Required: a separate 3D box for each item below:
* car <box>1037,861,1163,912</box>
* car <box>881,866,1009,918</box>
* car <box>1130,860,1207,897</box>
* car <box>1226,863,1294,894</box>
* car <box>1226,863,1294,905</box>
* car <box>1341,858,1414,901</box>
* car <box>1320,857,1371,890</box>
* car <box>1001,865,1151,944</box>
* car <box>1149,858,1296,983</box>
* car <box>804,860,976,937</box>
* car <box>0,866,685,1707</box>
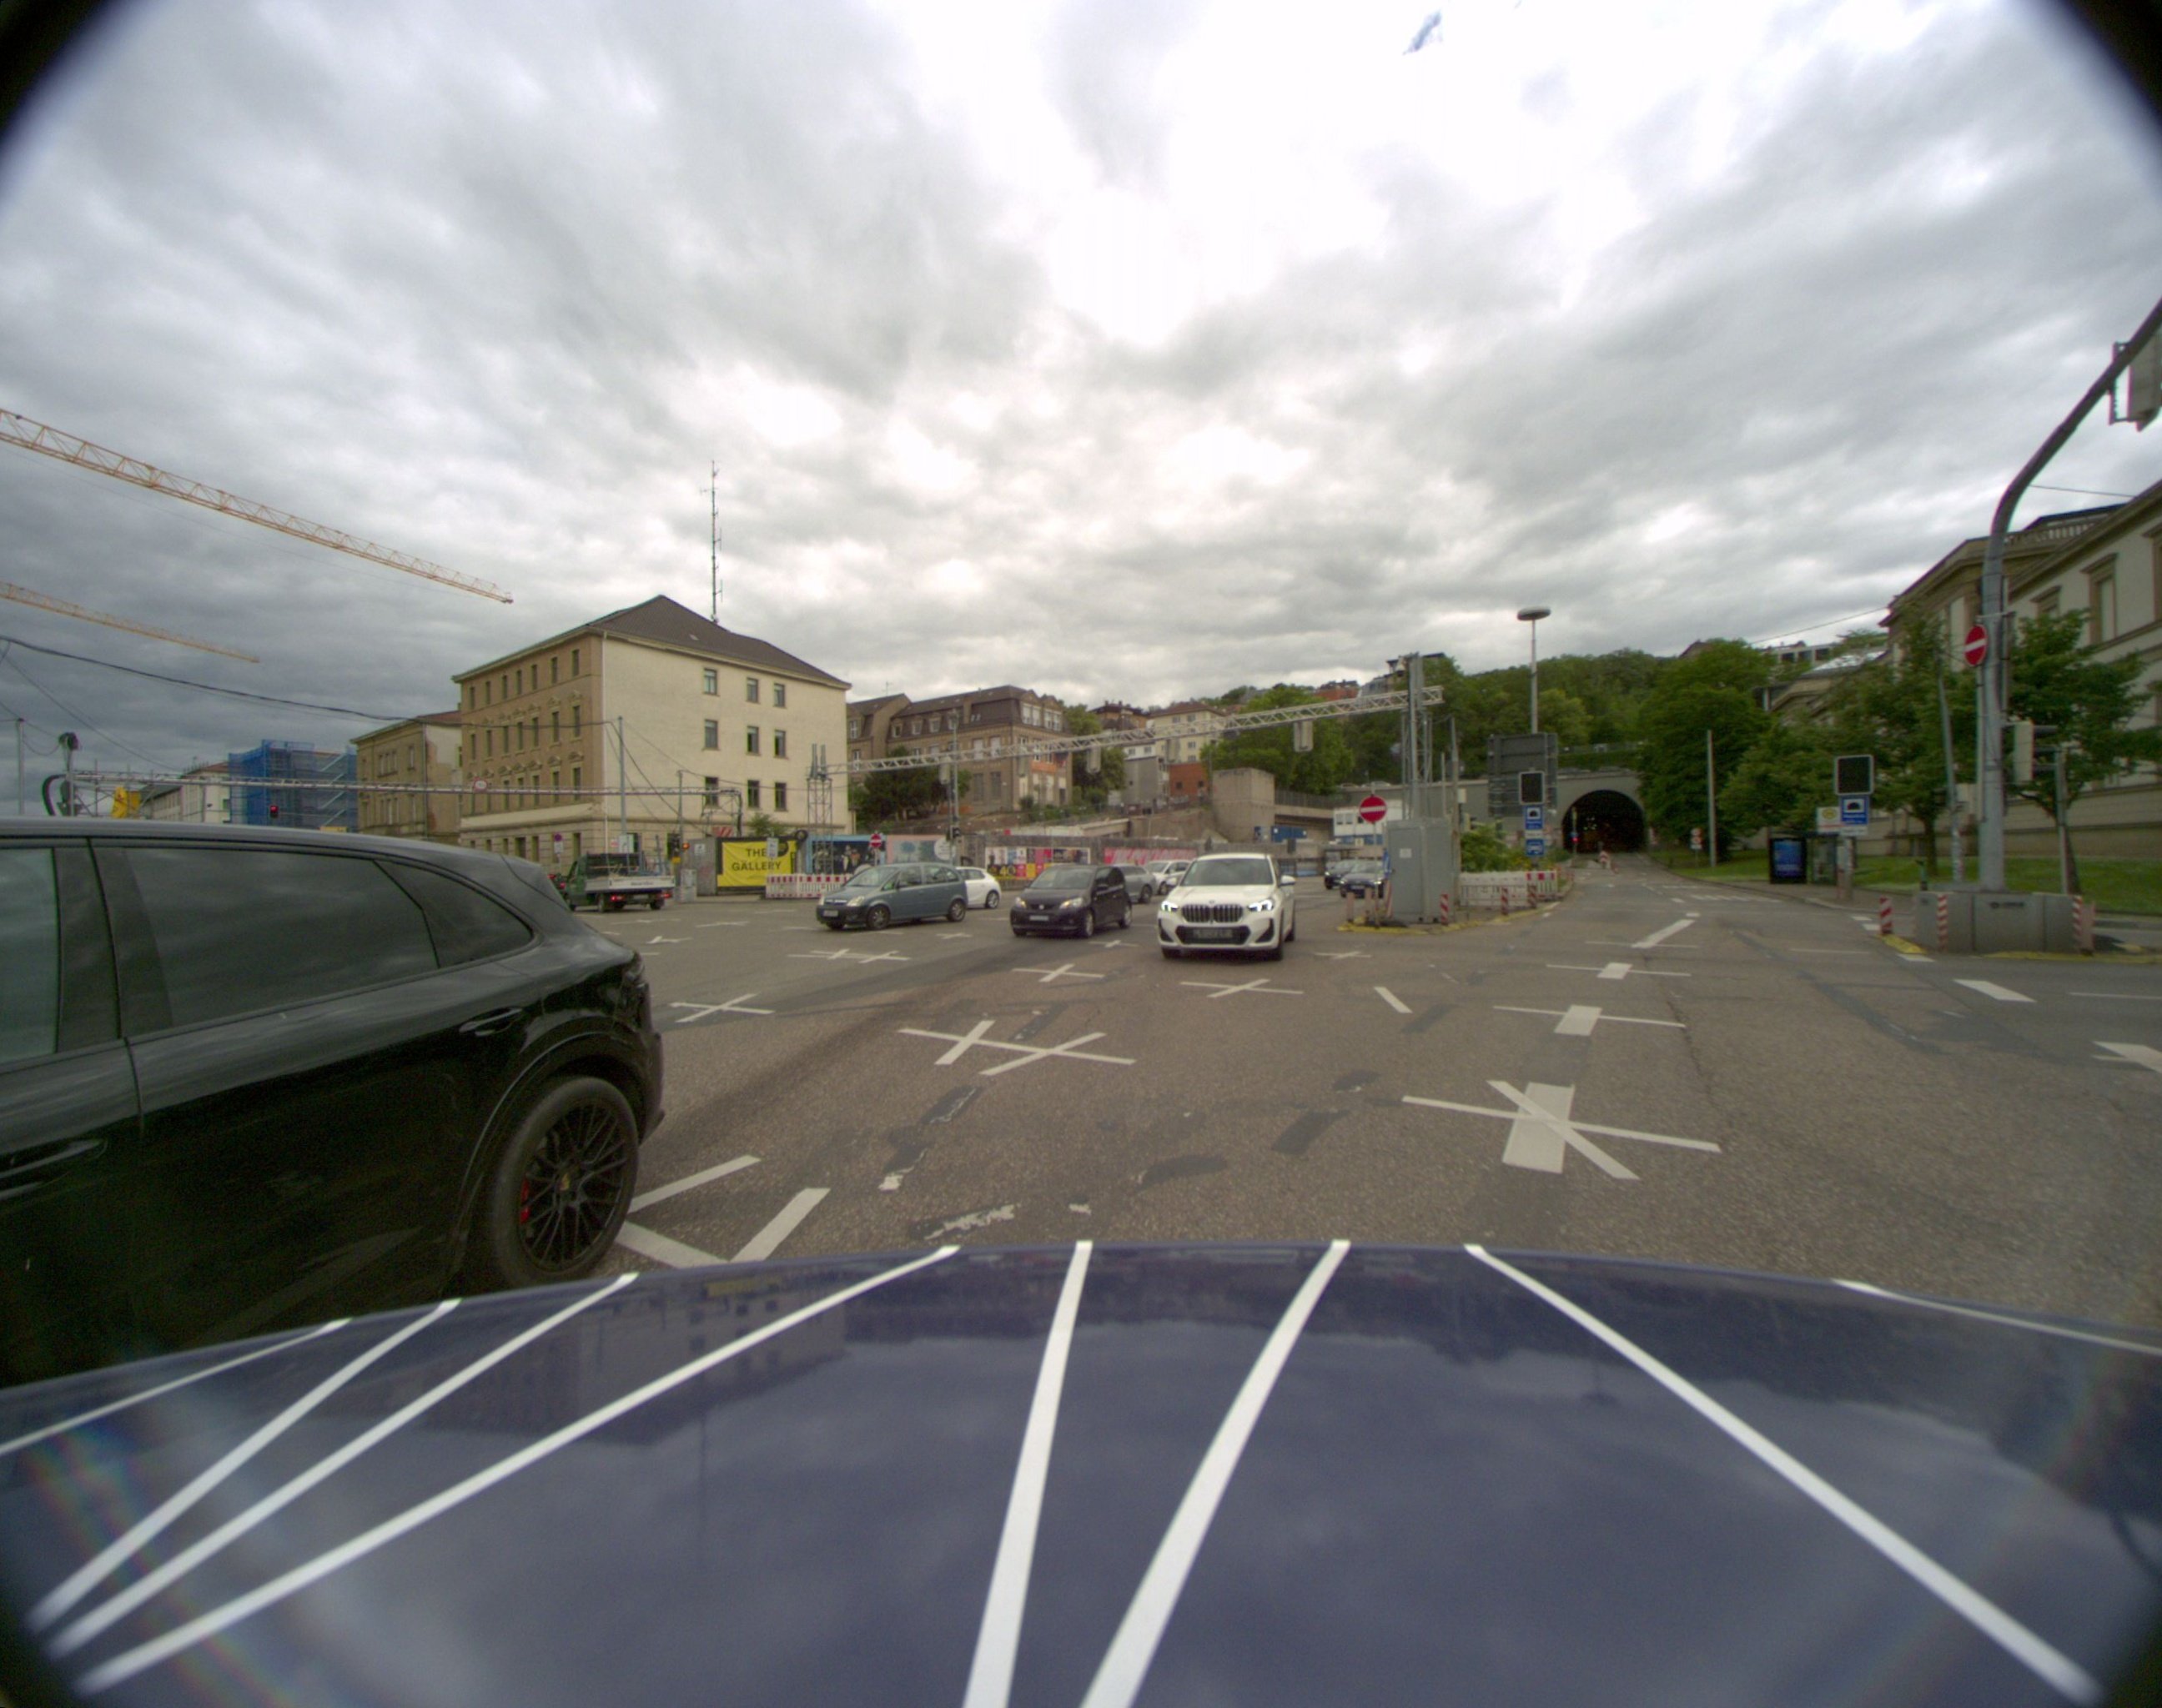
[{"bbox_3d":[0.758,1.042,26.204,1.906,1.569,4.693,-1,-1,38],"label":"car"},{"bbox_3d":[-4.351,1.196,24.835,1.688,1.407,4.095,-2,0,34],"label":"car"},{"bbox_3d":[4.175,1.141,35.816,1.688,1.564,4.080,-3,-1,38],"label":"car"},{"bbox_3d":[8.588,1.142,36.289,1.723,1.381,3.711,-1,-1,38],"label":"car"},{"bbox_3d":[6.667,1.063,28.011,1.574,1.411,3.578,-1,-1,28],"label":"car"},{"bbox_3d":[11.908,0.976,30.356,1.994,1.543,4.008,-1,0,32],"label":"car"},{"bbox_3d":[13.454,0.976,38.490,1.995,1.543,4.007,-1,0,25],"label":"car"},{"bbox_3d":[0.062,0.995,16.690,1.730,1.461,4.426,-1,-1,22],"label":"car"},{"bbox_3d":[2.381,0.899,12.033,1.809,1.595,3.718,0,0,18],"label":"car"},{"bbox_3d":[-4.637,1.015,18.953,1.688,1.565,3.962,-1,1,35],"label":"car"},{"bbox_3d":[-2.841,0.903,1.082,1.955,1.638,4.608,-1,0,2],"label":"car"}]
